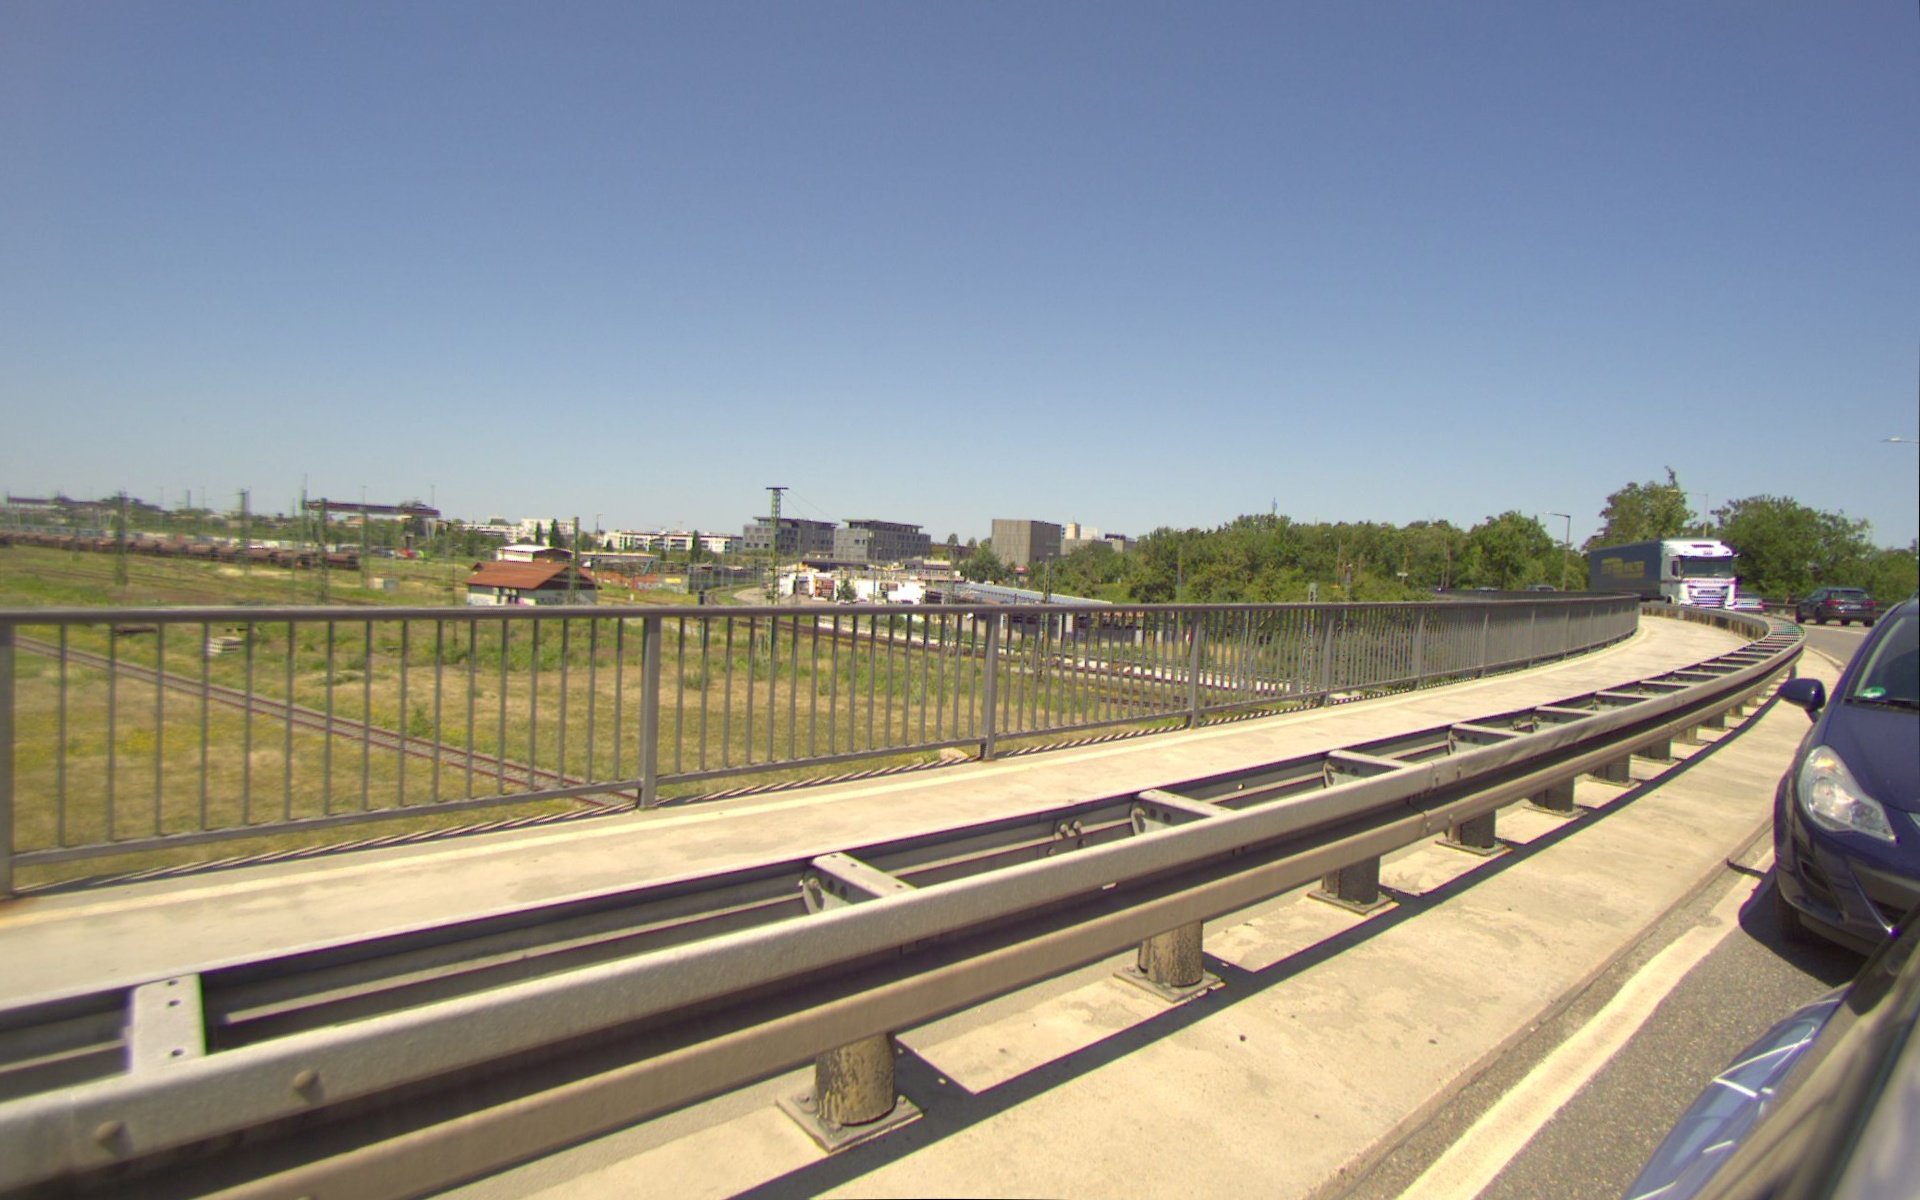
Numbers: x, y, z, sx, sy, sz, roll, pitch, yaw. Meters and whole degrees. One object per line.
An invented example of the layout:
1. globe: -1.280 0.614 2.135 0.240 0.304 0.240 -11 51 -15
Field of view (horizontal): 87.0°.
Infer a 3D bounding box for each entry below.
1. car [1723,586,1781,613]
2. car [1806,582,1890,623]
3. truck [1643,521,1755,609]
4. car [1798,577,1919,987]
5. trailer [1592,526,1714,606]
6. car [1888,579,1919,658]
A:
1. car: 43.761 -0.071 55.982 1.685 1.393 3.964 1 2 26
2. car: 38.641 0.052 44.167 1.790 1.661 4.258 1 1 28
3. truck: 38.367 -1.775 52.823 2.661 4.281 6.801 -1 1 18
4. car: 5.135 0.637 4.647 1.641 1.457 3.936 1 1 45
5. trailer: 40.833 -1.962 60.209 2.667 4.287 12.638 0 1 19
6. car: 19.900 0.355 20.047 1.785 1.473 4.463 1 1 37
